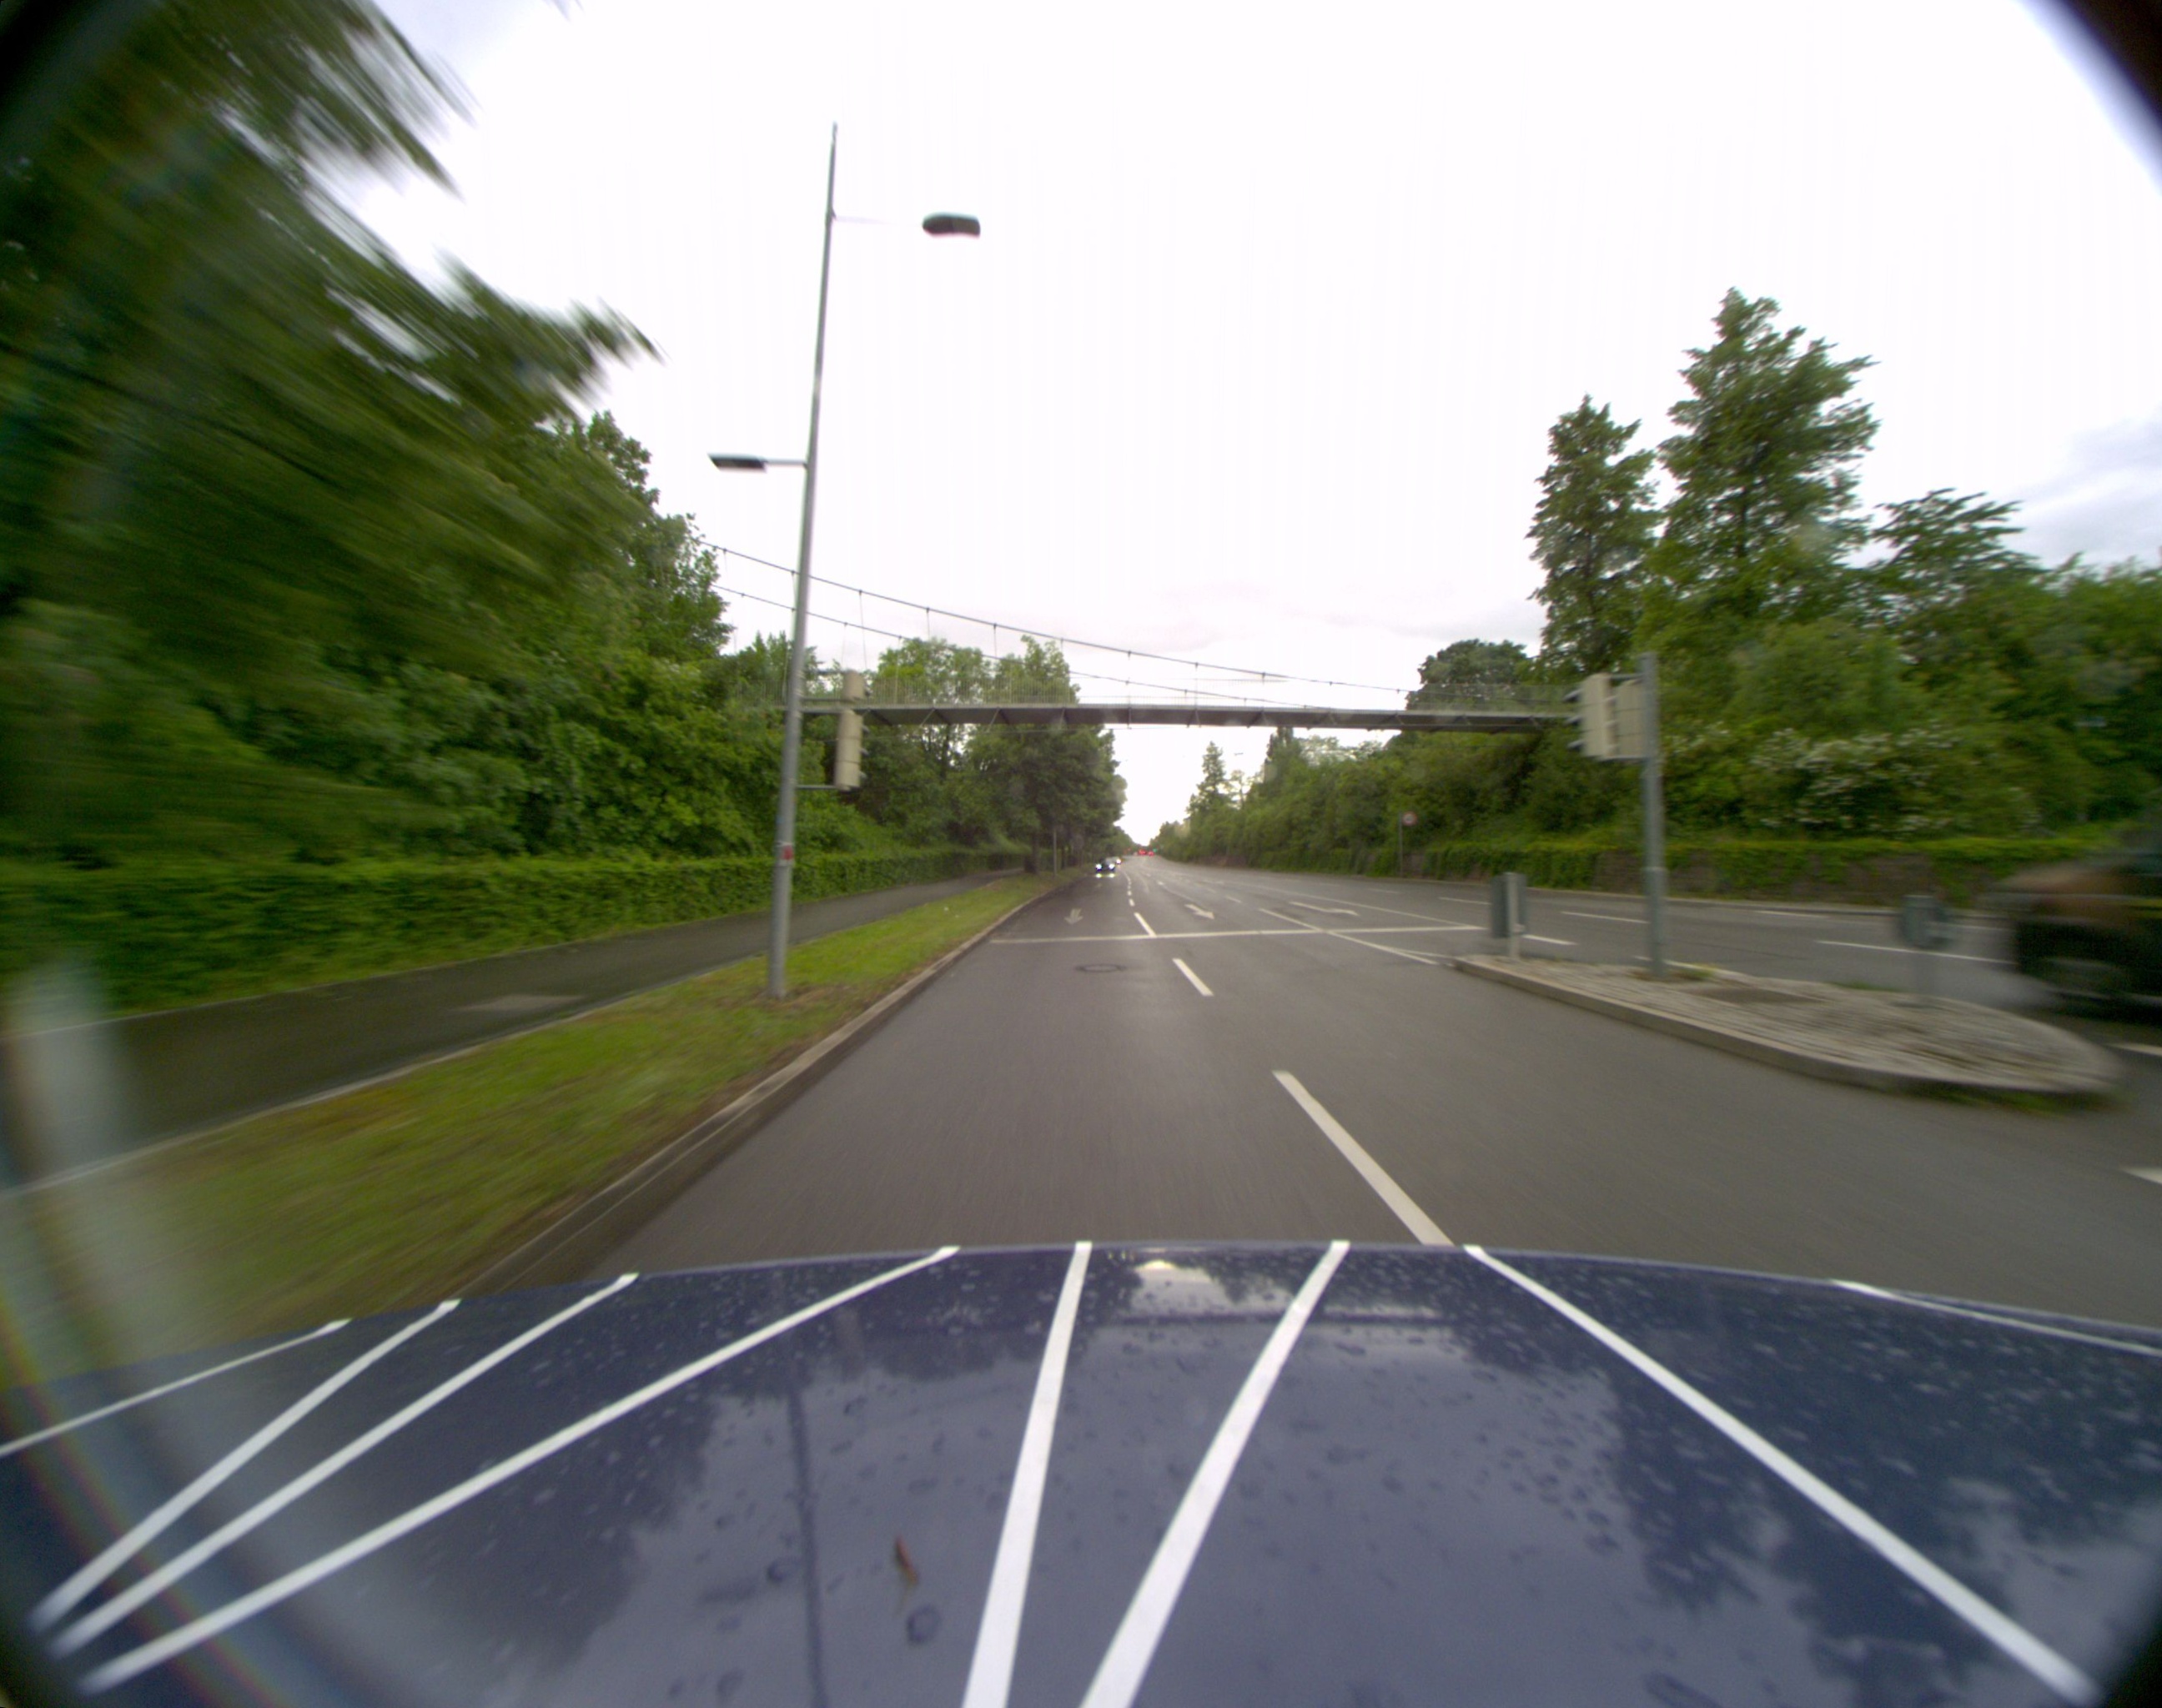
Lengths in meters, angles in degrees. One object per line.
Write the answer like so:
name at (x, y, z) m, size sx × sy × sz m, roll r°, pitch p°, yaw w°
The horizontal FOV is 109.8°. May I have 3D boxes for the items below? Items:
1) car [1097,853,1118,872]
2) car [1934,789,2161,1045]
car at (2.462, 0.763, 70.654) m, size 1.824 × 1.547 × 4.000 m, roll -2°, pitch 1°, yaw 3°
car at (9.056, 0.447, 4.606) m, size 2.019 × 1.908 × 5.094 m, roll -2°, pitch 0°, yaw -1°
